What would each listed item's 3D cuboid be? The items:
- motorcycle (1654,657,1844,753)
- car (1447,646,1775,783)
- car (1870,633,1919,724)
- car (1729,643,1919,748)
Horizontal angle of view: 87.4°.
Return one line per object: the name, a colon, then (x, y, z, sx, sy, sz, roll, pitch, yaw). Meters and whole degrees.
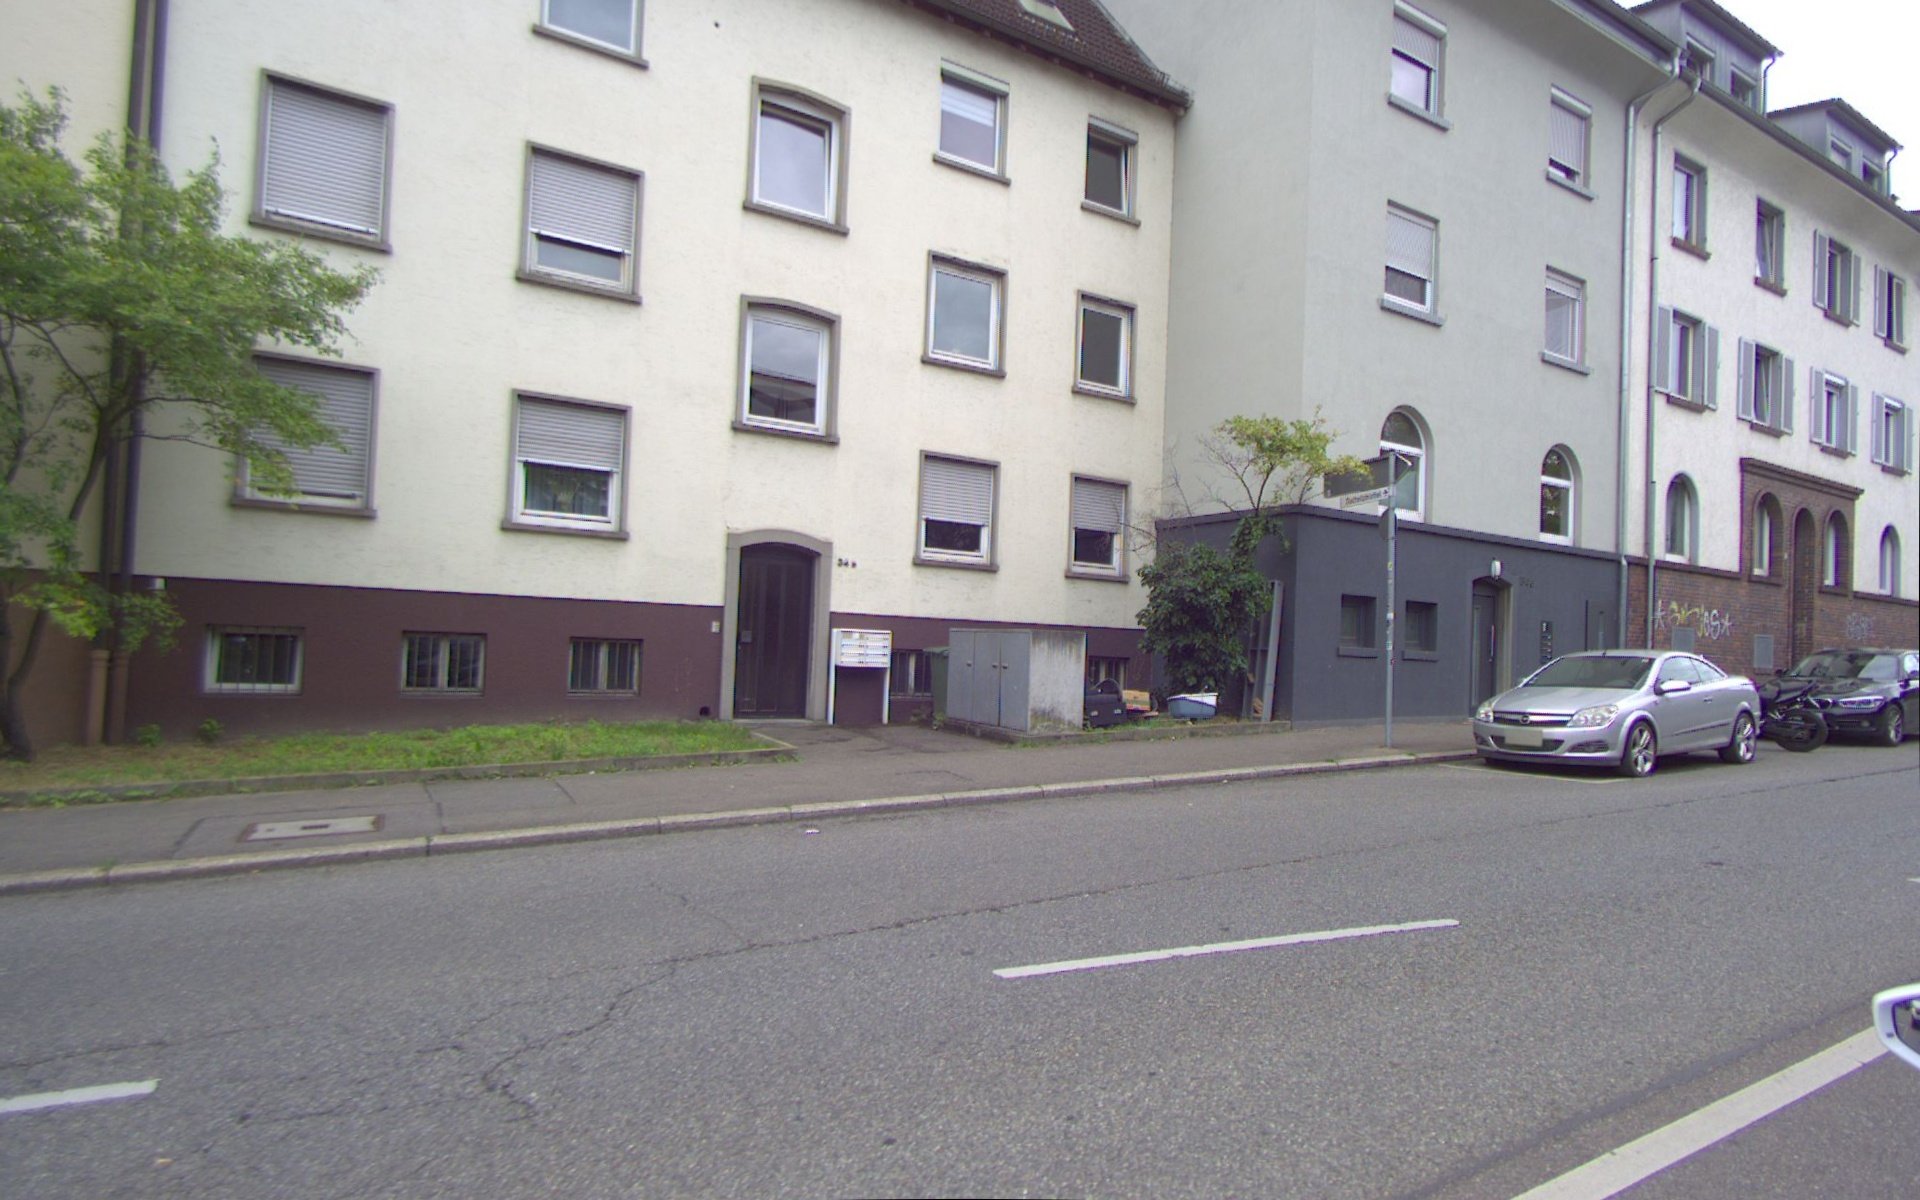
motorcycle: (11.093, 1.445, 14.180, 2.018, 1.251, 0.803, -4, -4, 43)
car: (8.067, 1.276, 12.352, 4.288, 1.392, 1.718, 1, -2, -32)
car: (19.508, 1.467, 19.251, 4.590, 1.642, 1.836, 1, -2, -31)
car: (14.163, 1.411, 15.913, 4.143, 1.448, 1.719, 1, -2, -31)
